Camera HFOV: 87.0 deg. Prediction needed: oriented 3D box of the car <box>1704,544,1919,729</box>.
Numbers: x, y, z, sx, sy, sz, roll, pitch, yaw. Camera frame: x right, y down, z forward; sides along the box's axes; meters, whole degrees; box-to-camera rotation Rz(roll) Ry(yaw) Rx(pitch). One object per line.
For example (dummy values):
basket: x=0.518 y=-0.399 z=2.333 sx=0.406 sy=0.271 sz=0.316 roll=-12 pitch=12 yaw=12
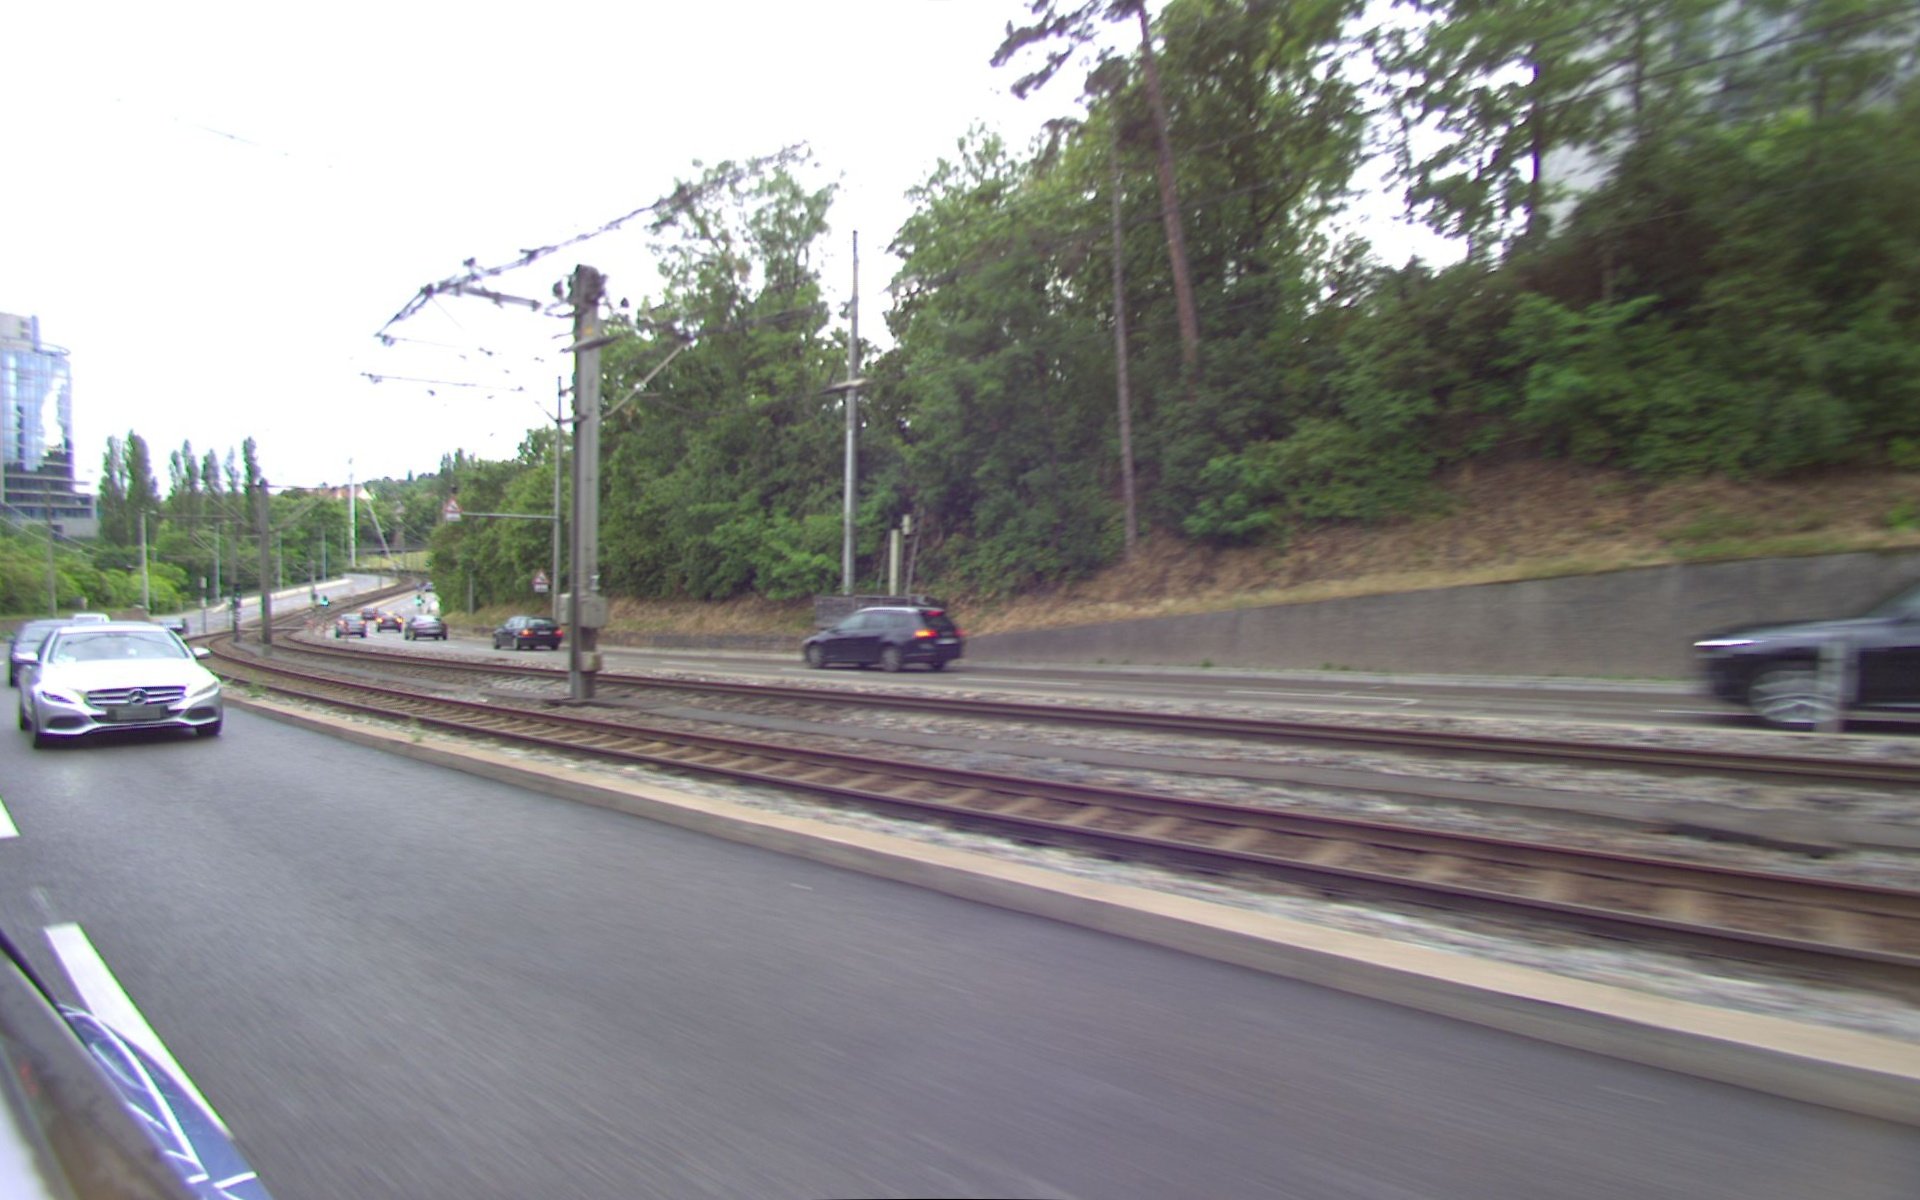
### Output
car: x=10.888 y=0.350 z=10.436 sx=5.128 sy=1.845 sz=2.213 roll=-1 pitch=-1 yaw=37

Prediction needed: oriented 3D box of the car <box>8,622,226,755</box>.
car: x=-11.100 y=1.012 z=13.215 sx=1.835 sy=1.413 sz=4.318 roll=1 pitch=-1 yaw=-44

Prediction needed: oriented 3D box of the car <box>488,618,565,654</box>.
car: x=-17.853 y=1.441 z=41.530 sx=1.869 sy=1.392 sz=4.462 roll=0 pitch=-1 yaw=-37

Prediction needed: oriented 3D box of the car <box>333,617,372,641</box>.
car: x=-39.305 y=1.863 z=65.434 sx=1.880 sy=1.469 sz=4.473 roll=0 pitch=-1 yaw=-35

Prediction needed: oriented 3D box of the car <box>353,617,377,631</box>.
car: x=-68.866 y=2.765 z=117.129 sx=2.178 sy=1.469 sz=4.476 roll=-1 pitch=0 yaw=-28

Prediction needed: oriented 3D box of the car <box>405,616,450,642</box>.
car: x=-30.922 y=1.695 z=58.755 sx=1.777 sy=1.434 sz=4.473 roll=1 pitch=-2 yaw=-35

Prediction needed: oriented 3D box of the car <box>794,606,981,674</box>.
car: x=-1.787 y=0.922 z=23.999 sx=4.409 sy=1.482 sz=1.806 roll=-1 pitch=-2 yaw=40

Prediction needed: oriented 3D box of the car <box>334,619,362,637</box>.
car: x=-44.032 y=1.996 z=72.807 sx=1.640 sy=1.209 sz=4.475 roll=-1 pitch=0 yaw=-32

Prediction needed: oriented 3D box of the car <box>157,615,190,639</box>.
car: x=-69.383 y=2.370 z=89.280 sx=1.966 sy=2.029 sz=4.506 roll=-1 pitch=-1 yaw=-34

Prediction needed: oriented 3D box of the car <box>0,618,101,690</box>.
car: x=-21.294 y=1.195 z=23.662 sx=1.704 sy=1.482 sz=3.892 roll=-1 pitch=0 yaw=-42

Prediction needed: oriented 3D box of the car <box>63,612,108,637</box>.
car: x=-64.395 y=1.784 z=74.598 sx=1.780 sy=1.521 sz=4.012 roll=-2 pitch=3 yaw=-31
